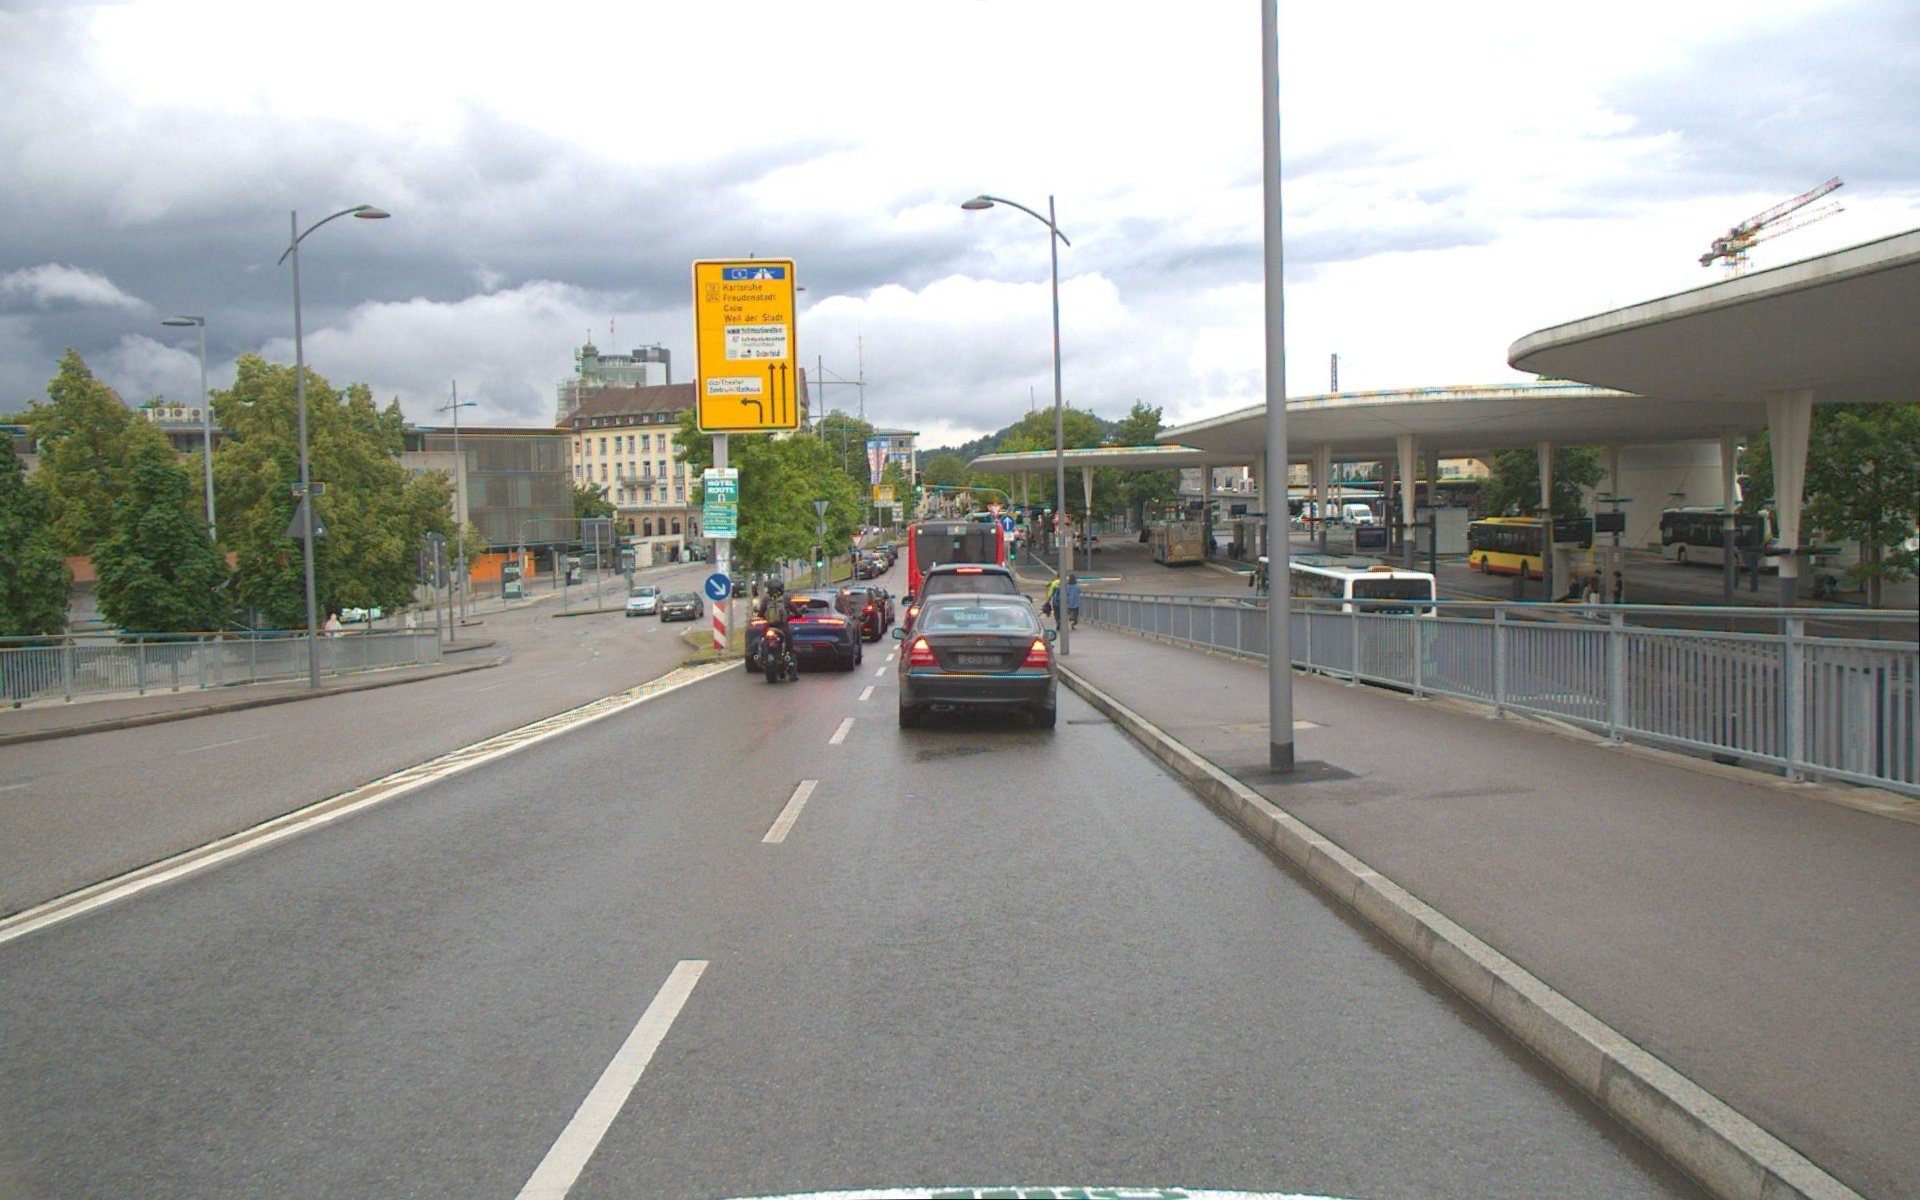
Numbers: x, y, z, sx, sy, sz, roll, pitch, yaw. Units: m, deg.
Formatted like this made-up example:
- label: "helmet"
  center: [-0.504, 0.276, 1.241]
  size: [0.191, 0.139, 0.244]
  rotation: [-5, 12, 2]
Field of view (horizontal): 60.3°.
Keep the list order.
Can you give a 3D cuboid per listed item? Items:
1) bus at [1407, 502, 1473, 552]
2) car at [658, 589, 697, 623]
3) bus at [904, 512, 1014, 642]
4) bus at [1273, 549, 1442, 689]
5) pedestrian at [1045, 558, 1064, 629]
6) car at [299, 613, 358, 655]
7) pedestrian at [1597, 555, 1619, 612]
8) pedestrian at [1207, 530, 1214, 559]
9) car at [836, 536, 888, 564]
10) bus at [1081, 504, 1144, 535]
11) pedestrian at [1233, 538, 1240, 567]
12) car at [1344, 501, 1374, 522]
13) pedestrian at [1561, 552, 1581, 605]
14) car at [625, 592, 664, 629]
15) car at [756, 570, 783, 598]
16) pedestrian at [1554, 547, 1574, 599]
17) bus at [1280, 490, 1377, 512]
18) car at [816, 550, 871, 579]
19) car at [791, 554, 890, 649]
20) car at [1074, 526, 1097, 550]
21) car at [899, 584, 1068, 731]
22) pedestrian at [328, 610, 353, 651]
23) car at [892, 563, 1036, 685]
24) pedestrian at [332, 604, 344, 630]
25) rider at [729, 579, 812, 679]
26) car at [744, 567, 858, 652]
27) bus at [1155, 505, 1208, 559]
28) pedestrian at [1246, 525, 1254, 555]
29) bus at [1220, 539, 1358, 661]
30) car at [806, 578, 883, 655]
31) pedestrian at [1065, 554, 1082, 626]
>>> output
- label: "bus"
  center: [32.707, -4.986, 112.850]
  size: [2.546, 3.265, 6.996]
  rotation: [-2, 3, 1]
- label: "car"
  center: [-15.006, 0.284, 88.001]
  size: [1.799, 1.553, 4.587]
  rotation: [-2, 2, -8]
- label: "bus"
  center: [-0.092, -0.660, 46.948]
  size: [2.770, 3.245, 10.308]
  rotation: [0, 1, -1]
- label: "bus"
  center: [11.017, 0.391, 46.573]
  size: [2.594, 3.291, 7.069]
  rotation: [0, 5, -4]
- label: "pedestrian"
  center: [2.726, -0.186, 47.886]
  size: [0.479, 2.049, 0.470]
  rotation: [-2, -1, 1]
- label: "car"
  center: [-34.685, 1.857, 90.775]
  size: [1.979, 2.048, 3.948]
  rotation: [2, 1, -37]
- label: "pedestrian"
  center: [23.812, -0.602, 60.779]
  size: [0.549, 2.048, 0.483]
  rotation: [-2, 1, 1]
- label: "pedestrian"
  center: [17.882, -3.962, 118.161]
  size: [0.415, 2.048, 0.483]
  rotation: [-2, 1, 1]
- label: "car"
  center: [-7.845, -4.009, 132.708]
  size: [3.903, 2.048, 2.001]
  rotation: [-2, 1, 4]
- label: "bus"
  center: [18.384, -9.663, 199.086]
  size: [7.057, 3.455, 3.080]
  rotation: [-2, 2, -4]
- label: "pedestrian"
  center: [20.178, -3.472, 120.633]
  size: [0.415, 2.048, 0.483]
  rotation: [-2, 1, 1]
- label: "car"
  center: [40.054, -8.891, 166.218]
  size: [1.953, 2.048, 4.000]
  rotation: [-2, 2, -1]
- label: "pedestrian"
  center: [23.769, -0.828, 64.334]
  size: [0.532, 2.048, 0.579]
  rotation: [-2, 1, 0]
- label: "car"
  center: [-18.260, 0.584, 95.928]
  size: [1.956, 2.048, 3.993]
  rotation: [-2, 1, -8]
- label: "car"
  center: [-14.680, -1.200, 127.405]
  size: [1.956, 2.049, 4.195]
  rotation: [-2, 0, -7]
- label: "pedestrian"
  center: [23.932, -1.068, 65.537]
  size: [0.532, 2.048, 0.579]
  rotation: [-2, 1, 0]
- label: "bus"
  center: [39.749, -10.695, 178.662]
  size: [9.967, 2.048, 2.169]
  rotation: [-2, 1, -4]
- label: "car"
  center: [-8.918, -2.712, 126.476]
  size: [3.903, 2.048, 2.001]
  rotation: [-2, 1, 4]
- label: "car"
  center: [-2.665, -0.009, 37.802]
  size: [1.952, 2.041, 4.000]
  rotation: [0, 1, 0]
- label: "car"
  center: [11.058, -5.447, 145.909]
  size: [1.951, 2.048, 4.003]
  rotation: [-2, 2, 5]
- label: "car"
  center: [0.218, 0.559, 18.319]
  size: [1.671, 1.444, 3.725]
  rotation: [0, 0, -1]
- label: "pedestrian"
  center: [-22.432, 1.113, 59.929]
  size: [0.634, 1.433, 0.531]
  rotation: [-2, 2, 2]
- label: "car"
  center: [0.143, 0.303, 25.301]
  size: [1.788, 1.716, 4.003]
  rotation: [0, 1, 6]
- label: "pedestrian"
  center: [-22.515, 0.611, 59.862]
  size: [0.294, 0.888, 0.298]
  rotation: [-2, 2, 2]
- label: "rider"
  center: [-2.968, 0.426, 26.105]
  size: [0.862, 1.497, 2.197]
  rotation: [0, 1, 5]
- label: "car"
  center: [-2.858, 0.130, 30.487]
  size: [1.724, 1.461, 4.000]
  rotation: [0, 1, 0]
- label: "bus"
  center: [16.008, -4.846, 120.274]
  size: [3.112, 3.663, 10.516]
  rotation: [-2, 1, 4]
- label: "pedestrian"
  center: [20.518, -4.250, 117.099]
  size: [0.415, 2.049, 0.483]
  rotation: [-2, -1, 1]
- label: "bus"
  center: [10.543, -0.135, 53.675]
  size: [2.594, 3.291, 7.069]
  rotation: [-2, 5, -4]
- label: "car"
  center: [-3.209, 0.410, 46.515]
  size: [1.953, 2.041, 3.999]
  rotation: [0, 1, -1]
- label: "pedestrian"
  center: [3.288, -0.278, 47.849]
  size: [0.415, 2.049, 0.483]
  rotation: [-2, -1, 1]
